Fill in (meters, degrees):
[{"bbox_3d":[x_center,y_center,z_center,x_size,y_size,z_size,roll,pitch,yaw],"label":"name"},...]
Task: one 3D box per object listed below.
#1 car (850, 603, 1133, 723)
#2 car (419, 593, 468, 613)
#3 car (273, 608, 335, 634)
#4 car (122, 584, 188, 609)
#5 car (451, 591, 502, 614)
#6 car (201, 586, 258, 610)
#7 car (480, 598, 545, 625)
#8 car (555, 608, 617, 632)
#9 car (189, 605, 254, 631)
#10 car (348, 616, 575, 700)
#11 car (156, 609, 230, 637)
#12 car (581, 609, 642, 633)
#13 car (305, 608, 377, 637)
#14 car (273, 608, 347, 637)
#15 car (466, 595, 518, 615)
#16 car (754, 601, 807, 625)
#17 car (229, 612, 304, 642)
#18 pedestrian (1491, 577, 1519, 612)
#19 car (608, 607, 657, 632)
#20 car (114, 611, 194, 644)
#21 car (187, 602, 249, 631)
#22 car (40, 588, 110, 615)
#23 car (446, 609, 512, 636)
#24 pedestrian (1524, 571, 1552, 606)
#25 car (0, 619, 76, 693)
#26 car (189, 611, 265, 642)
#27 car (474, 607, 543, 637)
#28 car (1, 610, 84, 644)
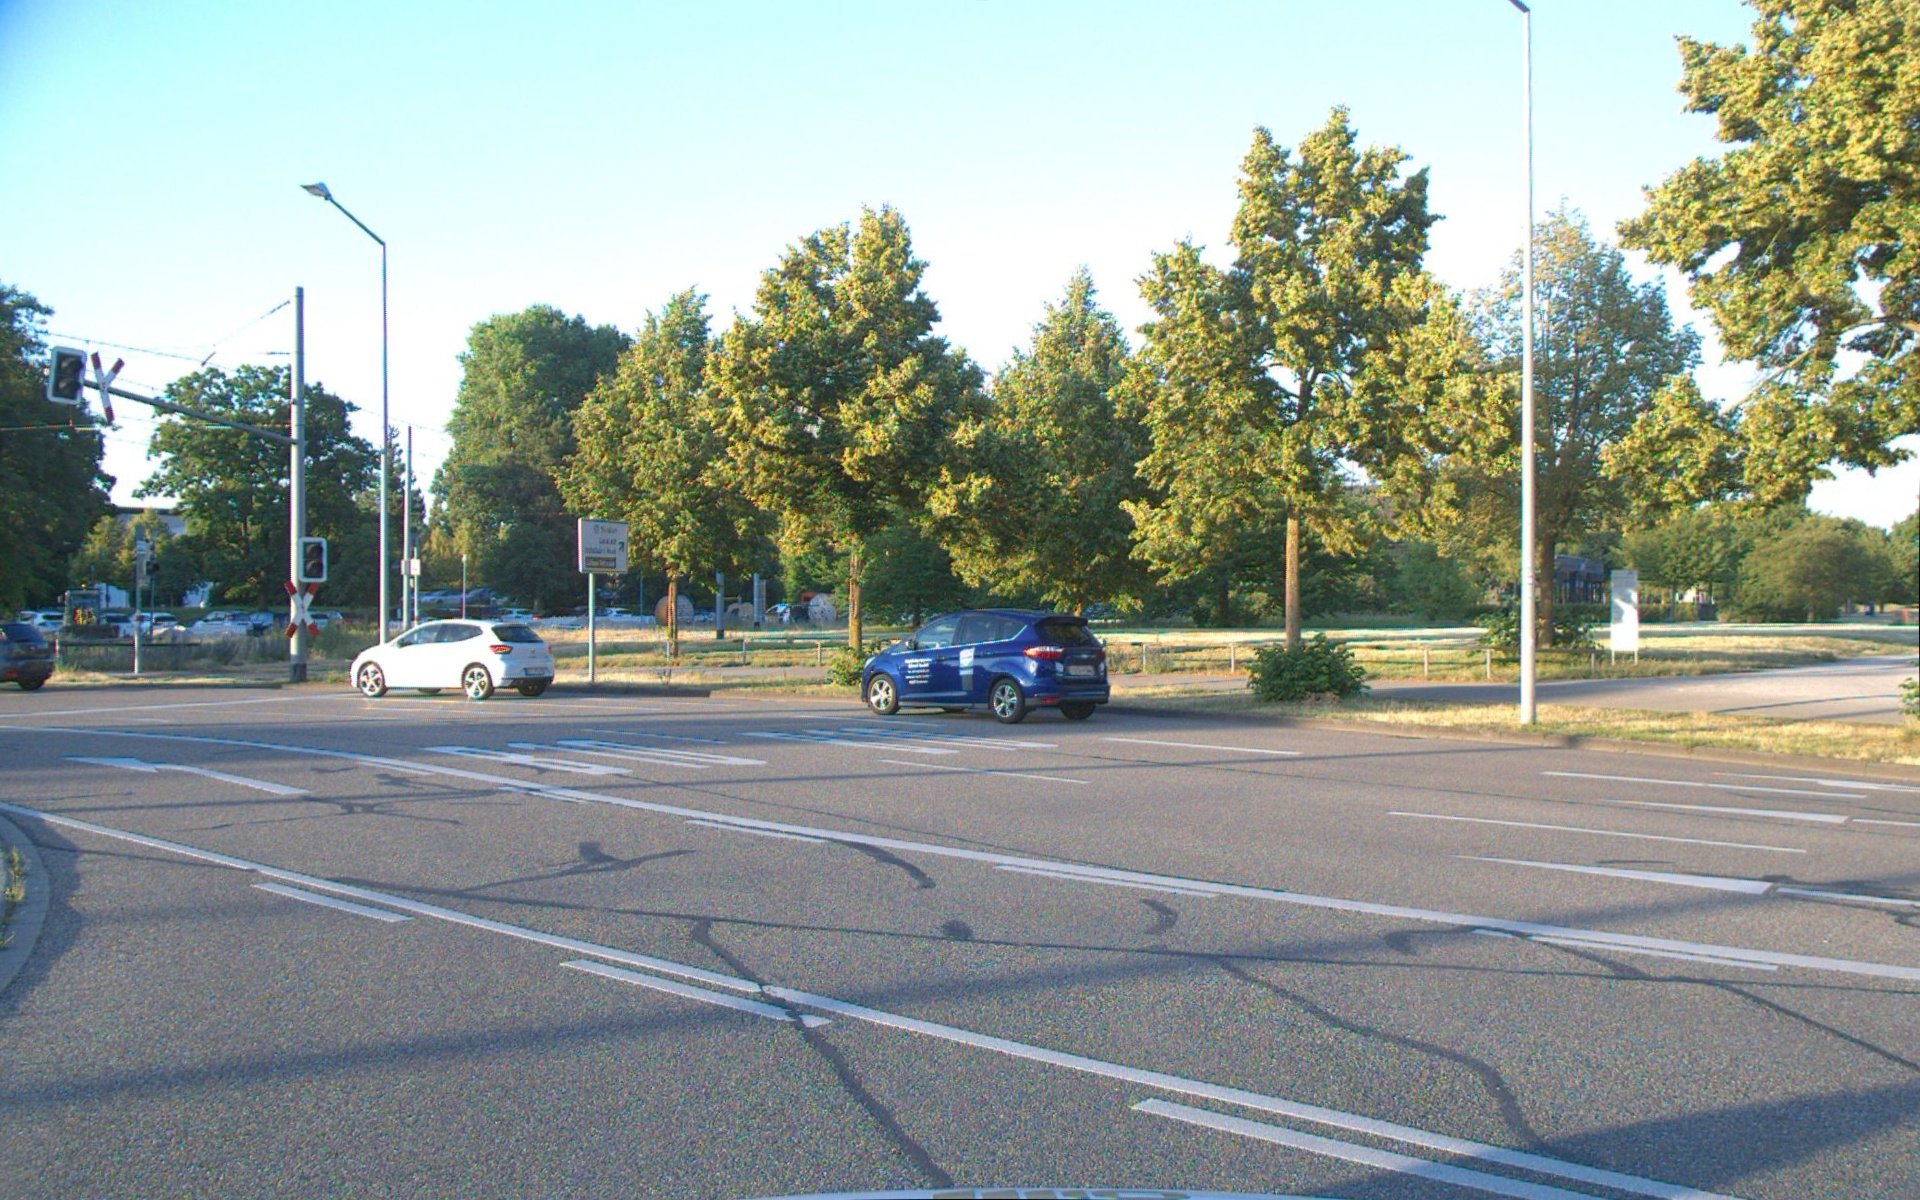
[{"bbox_3d":[0.417,0.882,25.081,4.108,1.611,1.903,1,0,43],"label":"car"},{"bbox_3d":[-47.207,0.257,151.141,1.959,1.847,3.987,0,0,34],"label":"car"},{"bbox_3d":[-45.247,1.429,114.176,3.932,1.691,1.889,0,0,-23],"label":"car"},{"bbox_3d":[-66.442,-0.280,136.511,1.958,2.049,4.584,0,0,33],"label":"car"},{"bbox_3d":[-43.359,0.250,148.294,1.963,2.049,3.979,0,0,40],"label":"car"},{"bbox_3d":[-62.799,-0.187,142.317,1.958,2.049,4.104,0,0,33],"label":"car"},{"bbox_3d":[-33.866,0.872,125.291,4.498,2.049,1.996,0,0,-9],"label":"car"},{"bbox_3d":[-25.704,1.342,113.642,3.915,1.632,1.995,0,0,33],"label":"car"},{"bbox_3d":[-50.002,1.217,111.959,3.938,1.691,1.983,0,0,-26],"label":"car"},{"bbox_3d":[-9.435,1.060,31.284,3.880,1.479,1.866,0,0,25],"label":"car"},{"bbox_3d":[-49.694,1.474,107.170,1.863,1.691,3.987,0,0,34],"label":"car"},{"bbox_3d":[-24.327,1.429,115.385,3.915,1.632,1.995,0,0,33],"label":"car"},{"bbox_3d":[-35.961,1.284,96.106,3.915,1.632,1.995,0,0,33],"label":"car"},{"bbox_3d":[-36.915,1.257,93.892,3.915,1.632,1.995,0,0,33],"label":"car"},{"bbox_3d":[-40.975,0.432,144.770,3.902,1.736,2.001,0,0,6],"label":"car"},{"bbox_3d":[-12.433,0.864,114.575,1.723,1.646,3.941,0,0,-41],"label":"car"},{"bbox_3d":[-38.624,1.484,92.075,3.915,1.632,1.995,0,0,33],"label":"car"},{"bbox_3d":[26.327,-0.265,79.882,1.047,1.646,0.911,0,0,2],"label":"pedestrian"},{"bbox_3d":[-25.444,1.520,128.465,1.978,1.782,4.538,0,1,-37],"label":"car"},{"bbox_3d":[-41.820,1.398,85.833,3.915,1.632,1.995,0,0,33],"label":"car"},{"bbox_3d":[-52.294,1.145,116.626,3.939,2.049,1.983,0,0,-27],"label":"car"},{"bbox_3d":[-69.886,0.104,130.653,1.956,2.049,4.590,0,0,29],"label":"car"},{"bbox_3d":[-30.452,1.421,104.676,3.915,1.632,1.995,0,0,33],"label":"car"},{"bbox_3d":[27.618,-0.539,78.999,1.047,1.646,0.911,0,0,2],"label":"pedestrian"},{"bbox_3d":[-20.858,1.118,34.318,4.060,1.479,1.869,1,-2,8],"label":"car"},{"bbox_3d":[-40.074,1.451,90.414,3.915,1.632,1.995,0,0,33],"label":"car"},{"bbox_3d":[-31.942,1.550,117.154,4.498,2.049,1.996,0,0,-9],"label":"car"},{"bbox_3d":[-45.211,1.318,81.497,3.915,1.632,1.995,0,0,33],"label":"car"}]
